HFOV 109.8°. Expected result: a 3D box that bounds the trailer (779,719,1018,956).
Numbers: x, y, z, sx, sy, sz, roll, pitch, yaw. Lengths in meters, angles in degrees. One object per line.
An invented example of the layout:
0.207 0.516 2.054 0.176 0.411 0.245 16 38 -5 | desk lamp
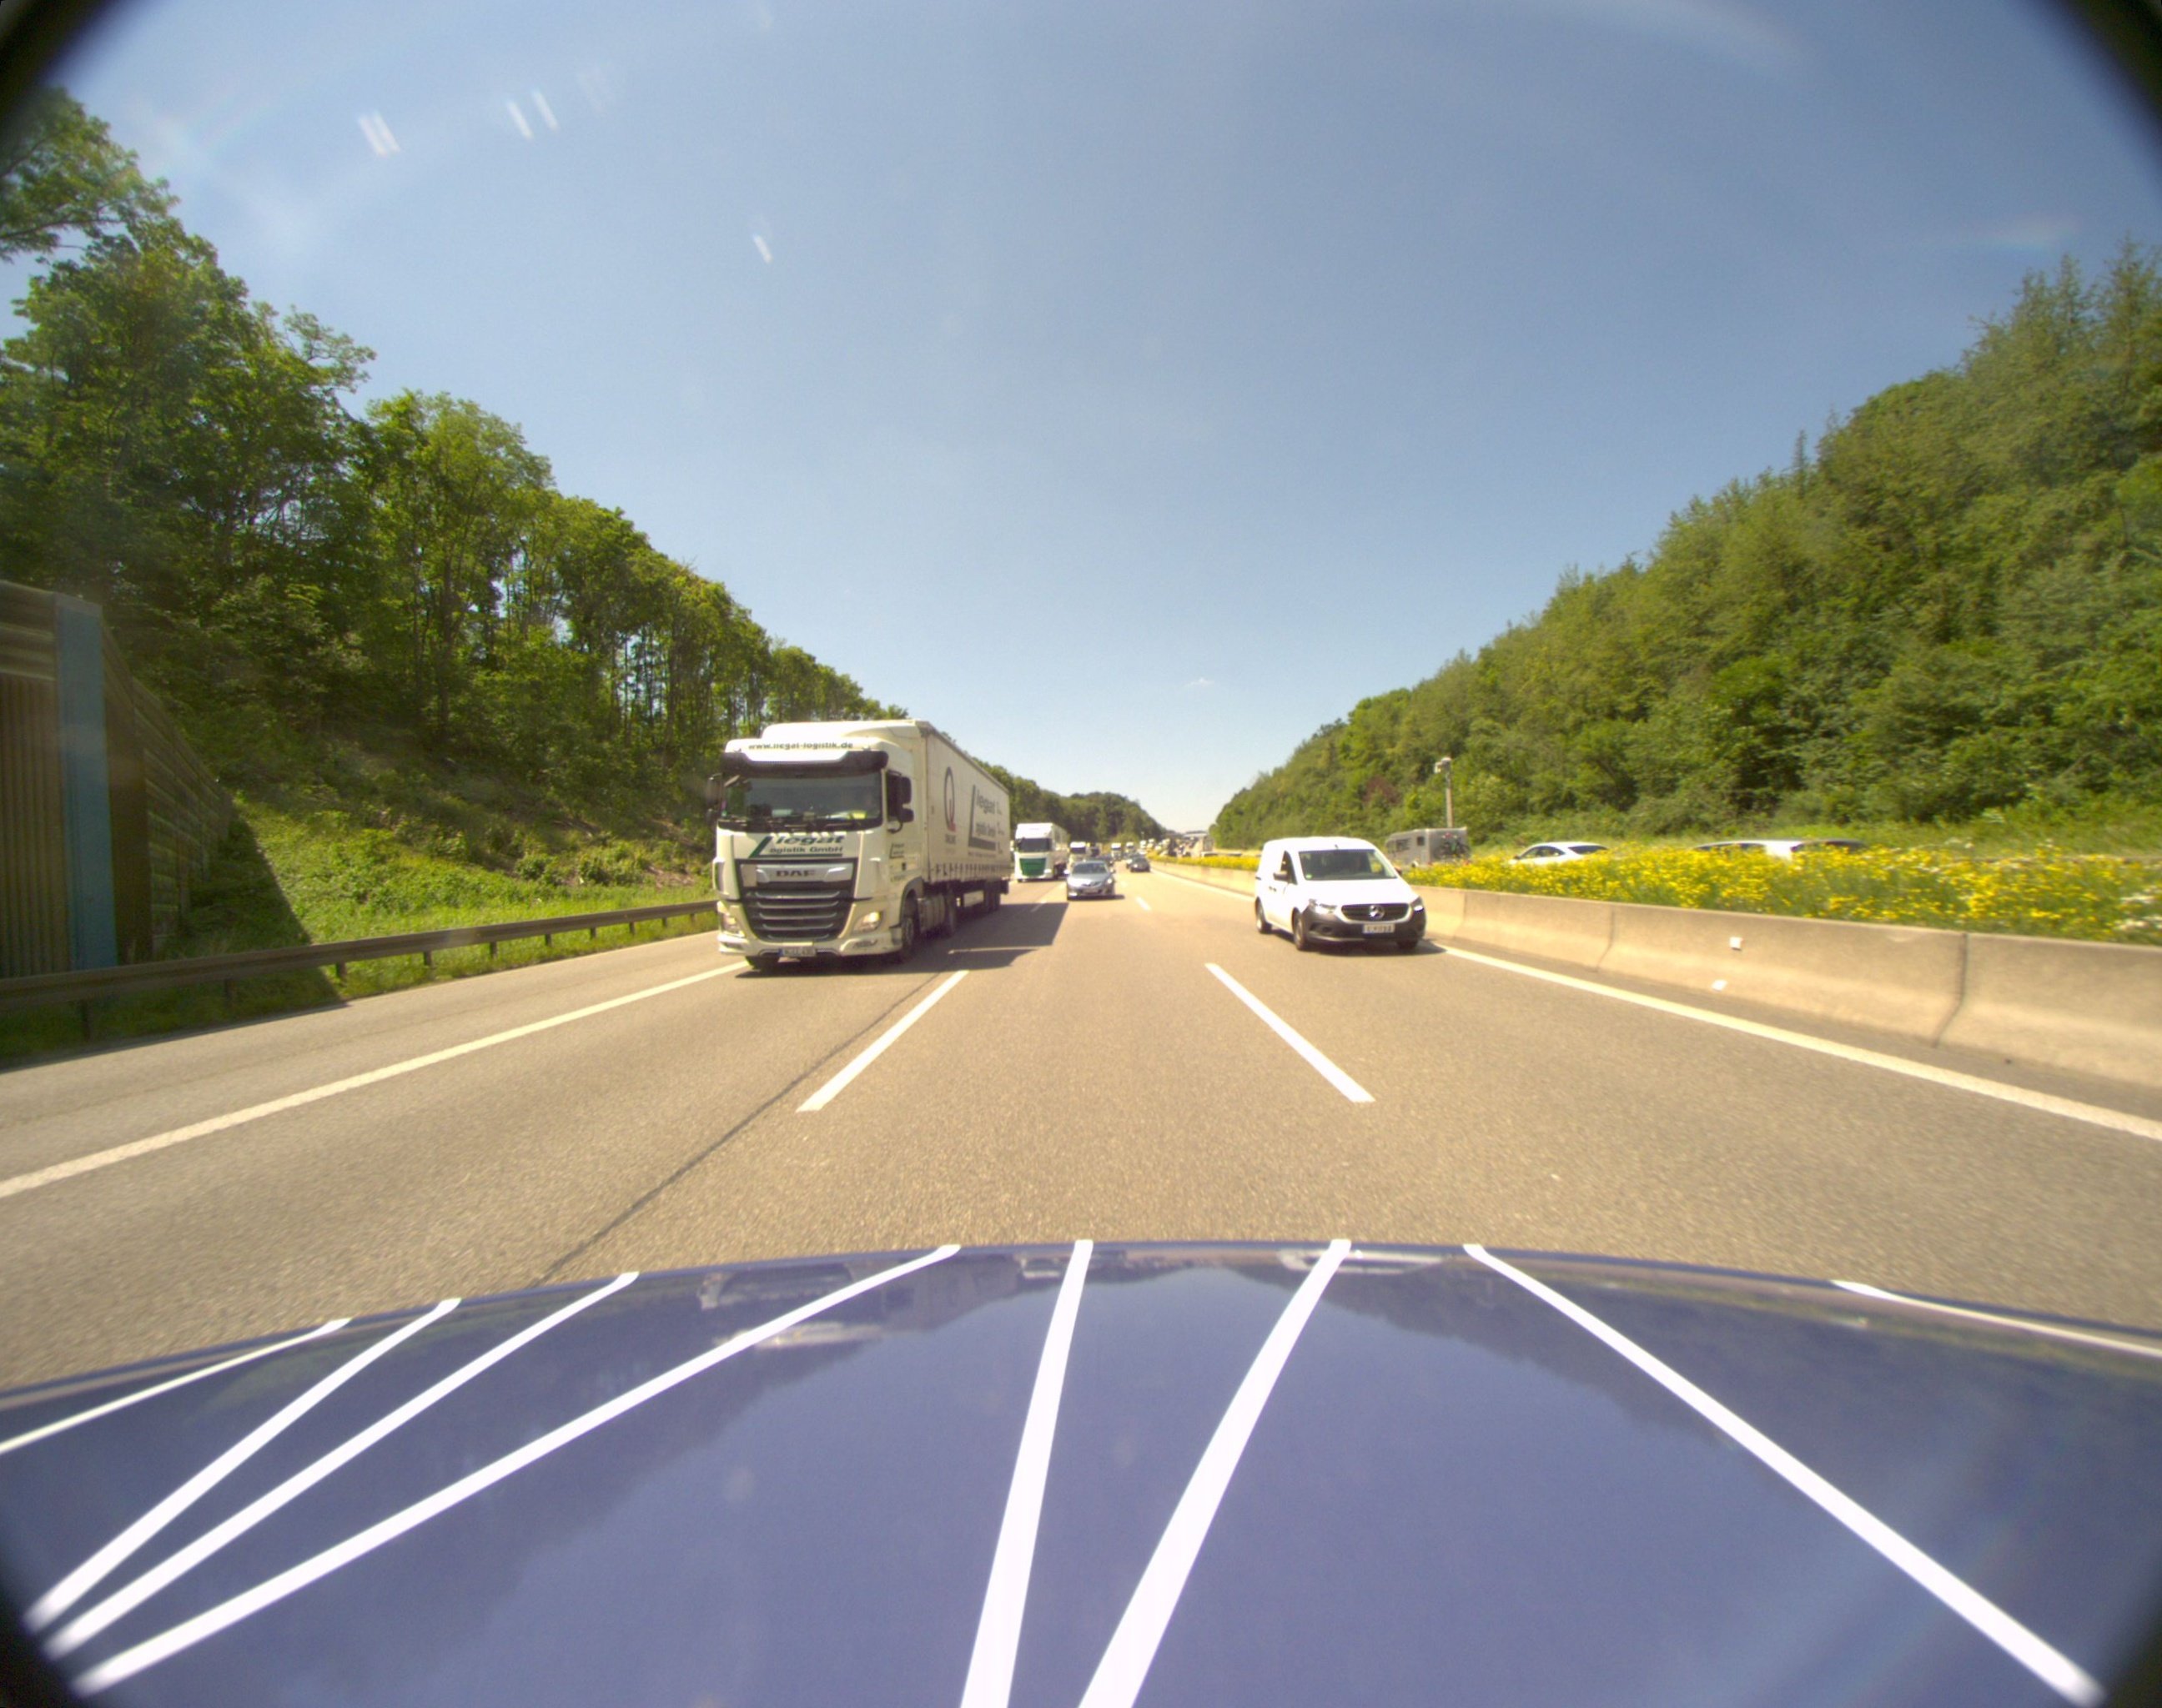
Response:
-3.844 -0.232 20.317 2.792 4.180 13.245 -2 -1 1 | trailer

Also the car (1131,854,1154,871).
5.749 0.760 71.255 1.721 1.470 3.999 -2 0 -2 | car

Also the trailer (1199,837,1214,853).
35.640 -2.539 216.106 2.721 4.183 13.933 -2 1 3 | trailer

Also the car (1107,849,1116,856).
7.760 -0.378 195.910 1.997 1.728 4.001 -2 1 6 | car

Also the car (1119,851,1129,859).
9.001 0.202 159.976 1.998 1.728 4.001 -2 1 4 | car

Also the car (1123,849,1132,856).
11.524 -0.321 187.791 1.997 1.728 4.001 -2 1 6 | car

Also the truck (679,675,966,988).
-3.980 -0.279 13.315 2.793 4.180 5.870 -2 0 1 | truck

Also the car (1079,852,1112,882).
0.930 0.790 47.538 1.887 1.696 4.085 -2 0 3 | car

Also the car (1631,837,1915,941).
11.130 0.467 12.579 1.481 1.434 3.563 -2 1 1 | car

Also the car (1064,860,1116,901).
0.414 1.000 30.487 1.887 1.458 4.248 -2 0 2 | car

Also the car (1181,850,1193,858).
22.396 0.005 160.501 1.998 1.477 4.000 -2 1 2 | car

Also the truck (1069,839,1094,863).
0.122 -0.467 113.555 3.262 3.337 6.863 -2 1 3 | truck

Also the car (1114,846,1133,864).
5.122 0.126 91.985 1.999 2.002 3.998 -2 1 -2 | car

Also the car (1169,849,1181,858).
18.254 -0.123 147.812 1.998 1.464 4.874 -2 1 5 | car

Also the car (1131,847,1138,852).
17.865 -1.516 252.051 1.997 1.728 4.001 -2 1 6 | car

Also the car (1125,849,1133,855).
13.533 -0.534 214.234 1.997 1.728 4.001 -2 1 6 | car

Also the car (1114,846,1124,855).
11.595 -1.010 231.901 2.697 2.467 6.586 -2 1 7 | car

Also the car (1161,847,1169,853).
25.035 -1.232 226.129 1.998 1.477 4.000 -2 1 4 | car

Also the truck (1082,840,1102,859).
2.289 -0.958 151.266 3.557 3.695 7.551 -2 1 3 | truck

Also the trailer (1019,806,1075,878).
-2.479 -0.985 61.910 2.573 5.011 15.274 -2 1 4 | trailer

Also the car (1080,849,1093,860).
0.935 0.086 122.297 1.924 1.652 3.827 -2 1 4 | car

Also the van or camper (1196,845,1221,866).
13.400 0.122 79.965 1.887 2.002 4.587 -2 1 0 | van or camper

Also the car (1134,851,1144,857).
13.560 0.028 177.143 1.997 1.426 4.002 -2 0 6 | car

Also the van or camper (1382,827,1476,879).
19.087 -0.110 42.154 2.191 2.546 6.931 -2 1 2 | van or camper

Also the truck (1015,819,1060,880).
-2.970 -0.345 53.546 2.542 4.006 6.624 -2 1 1 | truck

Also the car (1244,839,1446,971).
4.181 0.711 12.936 1.769 1.802 4.673 -2 0 0 | car

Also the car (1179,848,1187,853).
31.658 -1.133 236.327 1.998 1.563 4.000 -2 1 3 | car

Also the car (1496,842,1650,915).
15.111 0.647 23.710 1.998 2.002 4.567 -2 1 3 | car

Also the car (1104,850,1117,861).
5.084 0.254 130.317 1.998 1.728 4.001 -2 1 4 | car
